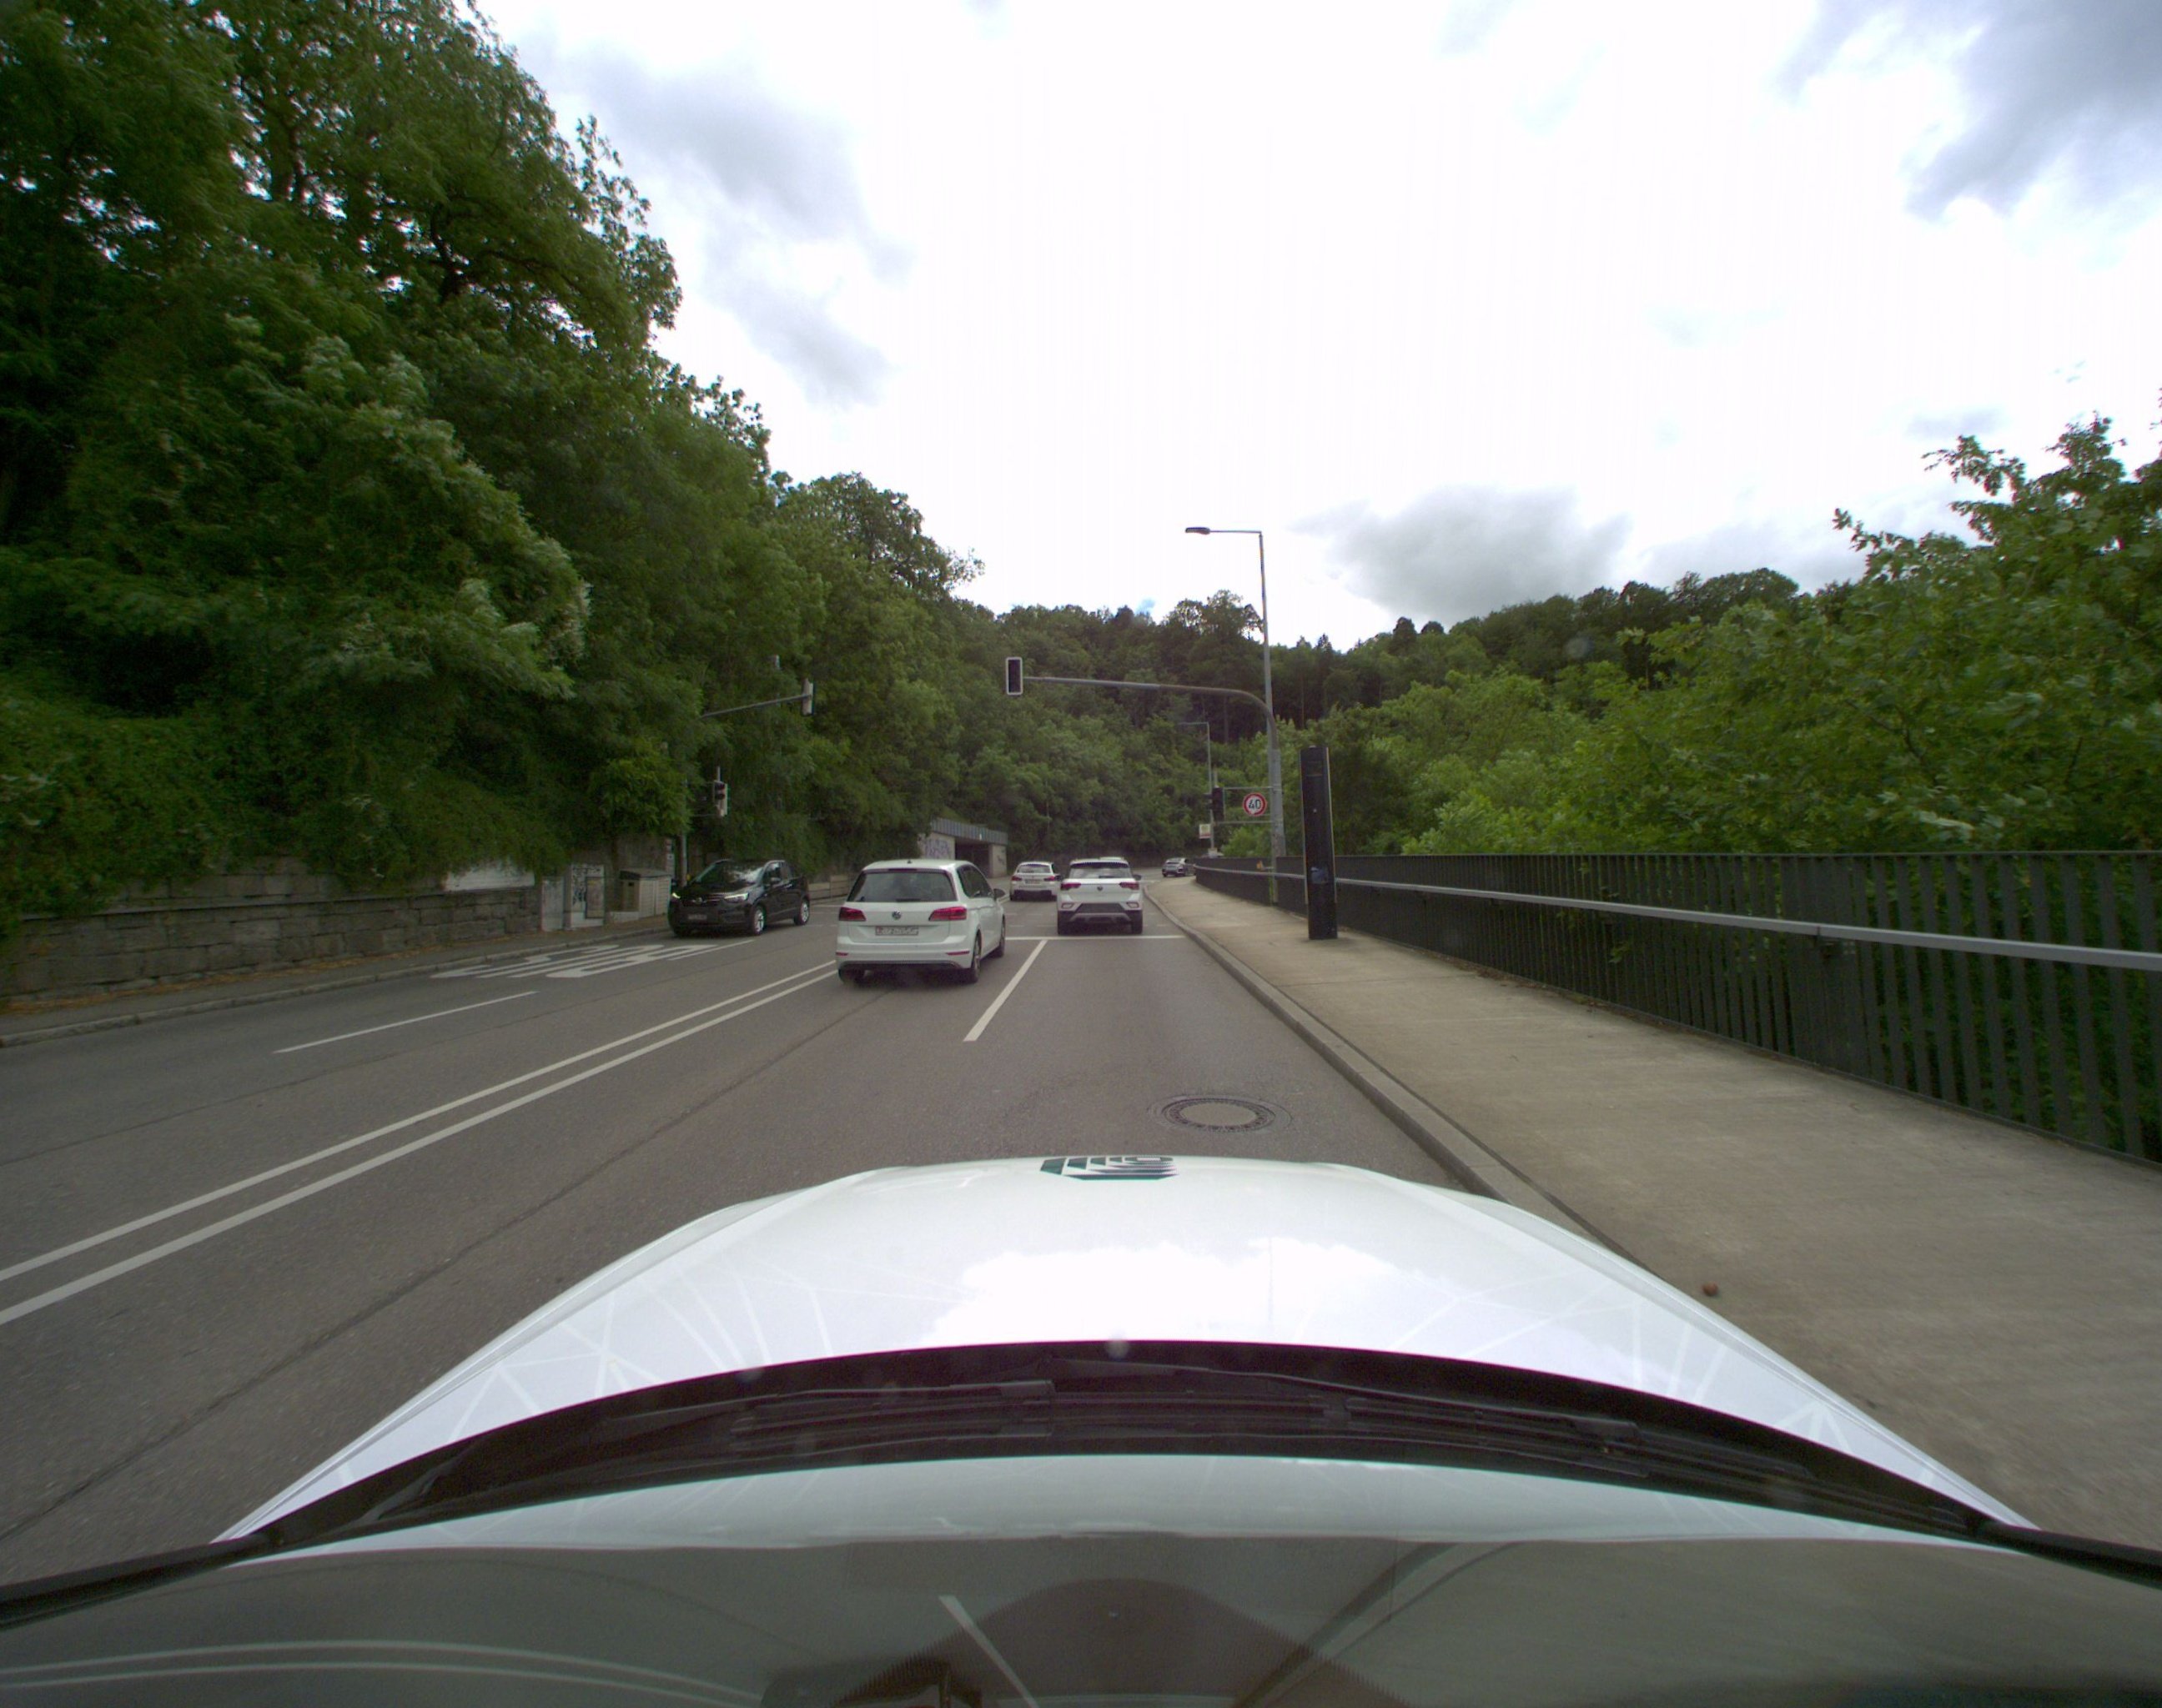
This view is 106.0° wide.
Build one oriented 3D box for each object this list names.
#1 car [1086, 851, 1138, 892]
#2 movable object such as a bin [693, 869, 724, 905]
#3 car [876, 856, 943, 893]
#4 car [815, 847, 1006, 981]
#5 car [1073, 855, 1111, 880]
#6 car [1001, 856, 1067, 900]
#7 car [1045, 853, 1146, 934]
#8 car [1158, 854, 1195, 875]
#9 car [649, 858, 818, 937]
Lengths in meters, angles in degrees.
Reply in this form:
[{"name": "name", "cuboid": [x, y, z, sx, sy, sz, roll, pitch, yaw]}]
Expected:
[{"name": "car", "cuboid": [1.558, 0.844, 39.492, 1.982, 1.843, 4.160, 1, -1, 9]}, {"name": "movable object such as a bin", "cuboid": [-11.159, 0.991, 24.423, 0.639, 1.067, 0.557, 1, -1, 1]}, {"name": "car", "cuboid": [-7.117, 0.827, 34.248, 1.806, 1.434, 4.249, 1, -1, 1]}, {"name": "car", "cuboid": [-2.194, 0.714, 11.688, 1.714, 1.554, 4.277, 0, 0, 2]}, {"name": "car", "cuboid": [0.770, 0.894, 53.840, 1.851, 1.595, 4.010, 1, -1, 9]}, {"name": "car", "cuboid": [-1.717, 0.875, 31.511, 1.985, 1.557, 4.685, 0, 0, 3]}, {"name": "car", "cuboid": [0.440, 0.806, 18.042, 1.804, 1.539, 4.015, -2, -1, 6]}, {"name": "car", "cuboid": [7.294, 0.779, 61.871, 2.016, 1.519, 4.218, 1, -1, 16]}, {"name": "car", "cuboid": [-7.472, 0.859, 18.025, 1.774, 1.482, 4.214, 1, 0, 2]}]
